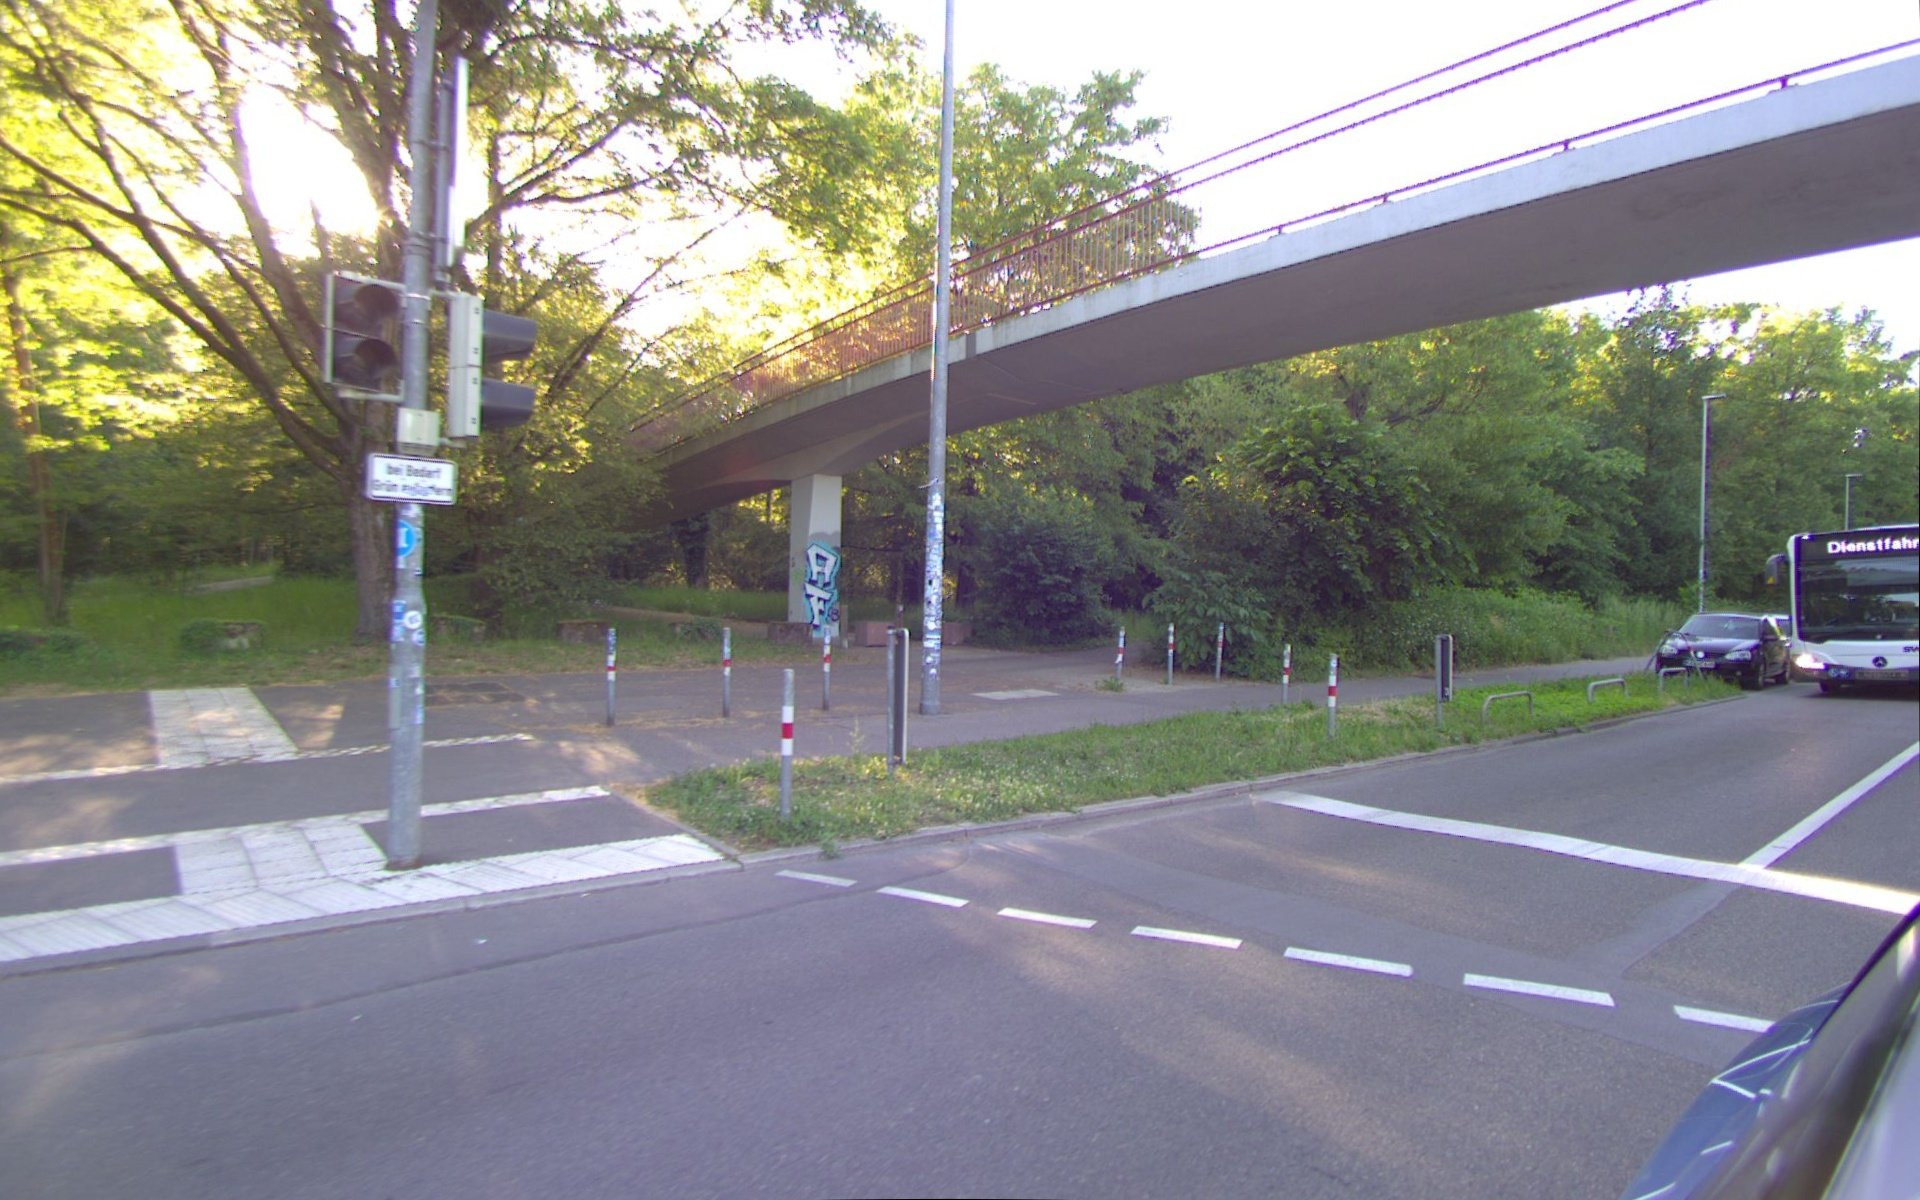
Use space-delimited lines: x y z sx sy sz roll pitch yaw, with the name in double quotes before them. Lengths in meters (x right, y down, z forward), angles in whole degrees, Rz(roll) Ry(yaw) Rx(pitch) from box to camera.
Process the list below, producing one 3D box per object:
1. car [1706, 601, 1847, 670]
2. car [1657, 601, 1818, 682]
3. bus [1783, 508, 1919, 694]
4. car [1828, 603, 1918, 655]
"car" 19.717 0.798 24.399 3.940 1.472 1.779 0 2 -38
"car" 16.305 0.783 21.152 4.310 1.472 1.778 0 2 -40
"bus" 20.447 0.036 21.217 12.660 3.087 2.810 0 -1 -41
"car" 29.127 0.862 32.222 4.814 1.472 1.639 0 2 -42
